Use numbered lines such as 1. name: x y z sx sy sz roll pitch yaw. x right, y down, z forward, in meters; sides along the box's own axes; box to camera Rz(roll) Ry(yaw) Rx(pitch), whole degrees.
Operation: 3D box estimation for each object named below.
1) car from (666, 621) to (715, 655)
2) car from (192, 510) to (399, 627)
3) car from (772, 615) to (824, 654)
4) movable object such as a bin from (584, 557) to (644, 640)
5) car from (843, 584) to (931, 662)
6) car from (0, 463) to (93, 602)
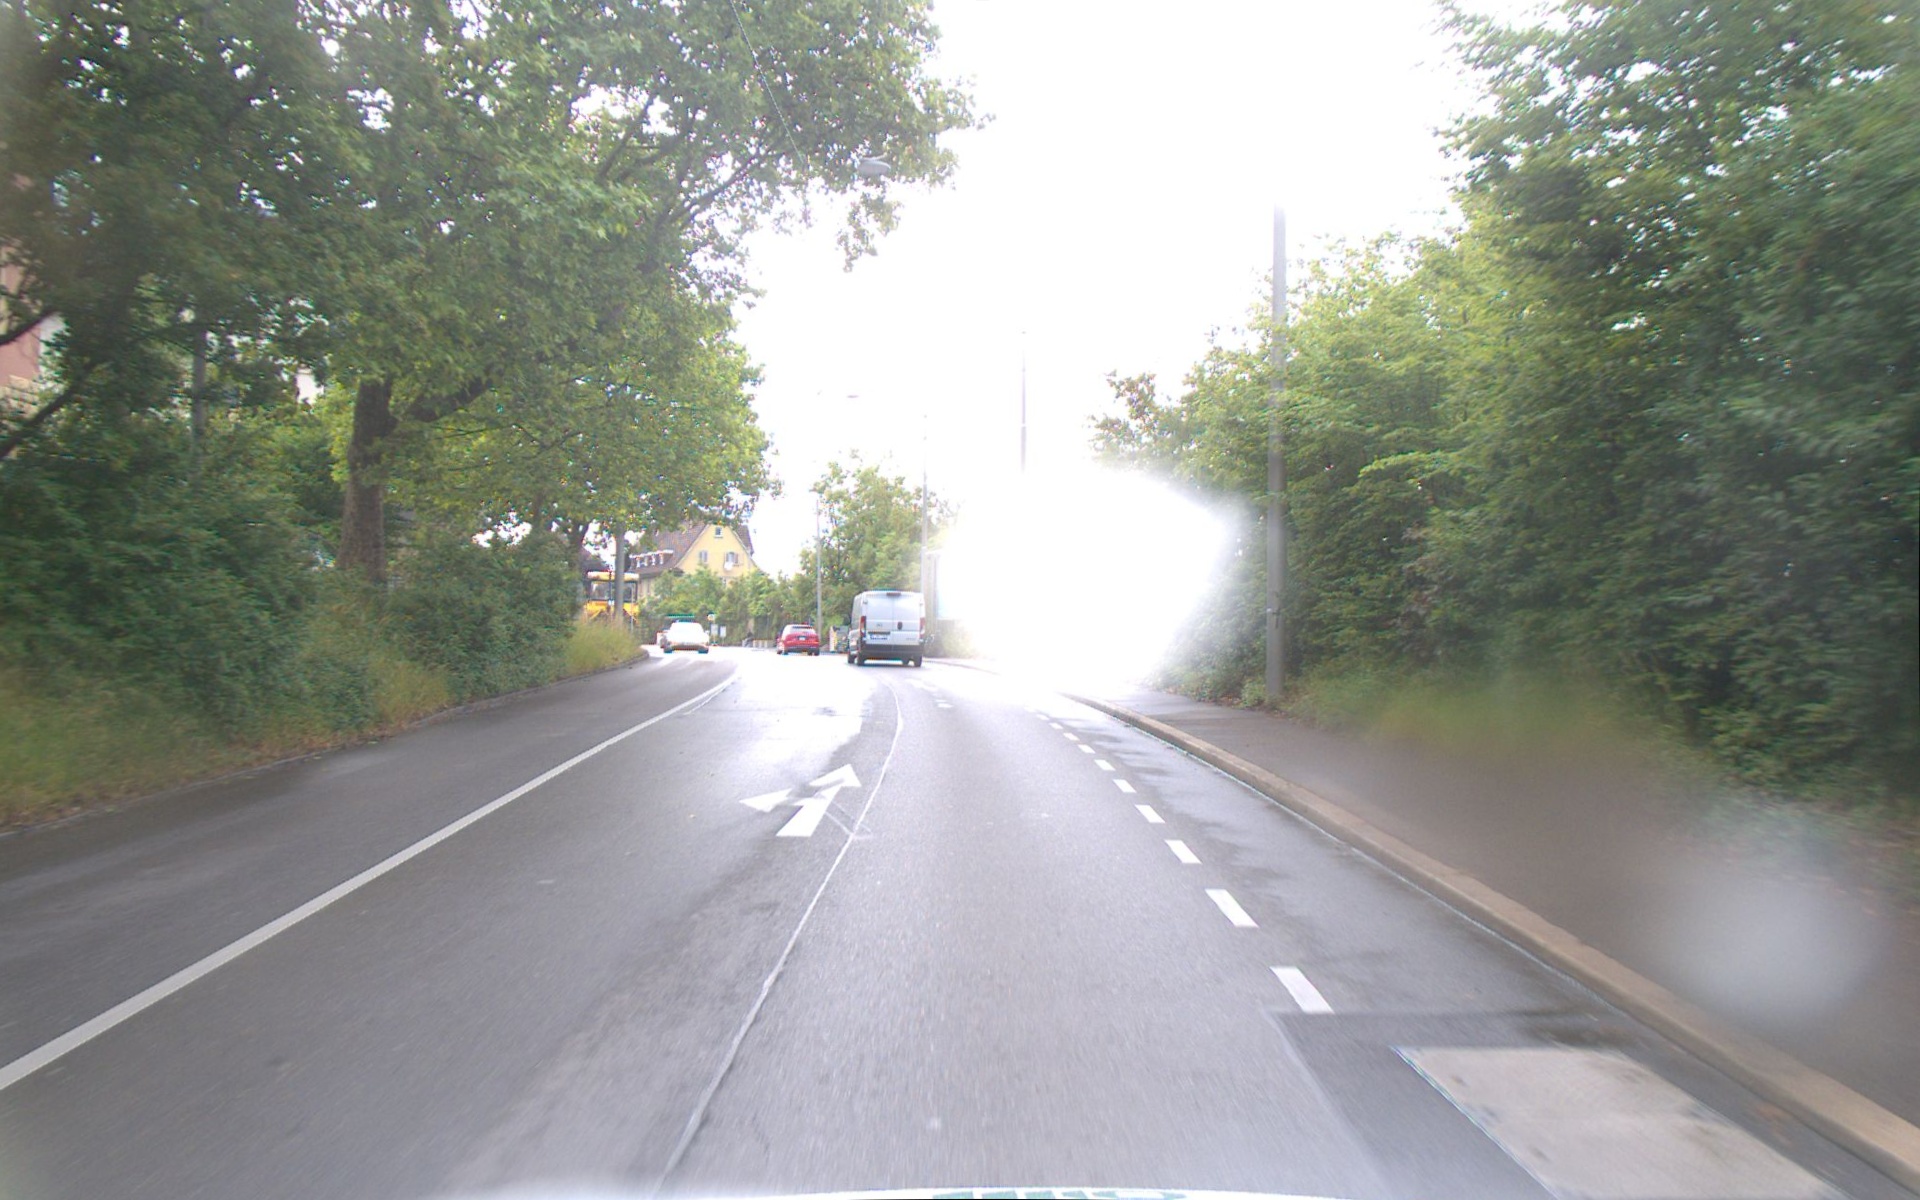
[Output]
1. car: -12.485 1.727 76.503 2.034 1.376 4.701 2 0 -11
2. car: -11.812 -0.518 29.763 1.793 1.875 4.627 2 0 0
3. car: -7.842 1.640 79.765 2.196 1.685 4.704 2 0 -9
4. movable object such as a bin: -17.276 -0.086 82.656 2.725 3.923 5.970 2 0 -12
5. car: -2.343 0.671 51.991 2.196 2.252 4.704 2 0 -9
6. car: -11.902 -0.811 18.625 1.793 1.584 4.627 2 0 0
